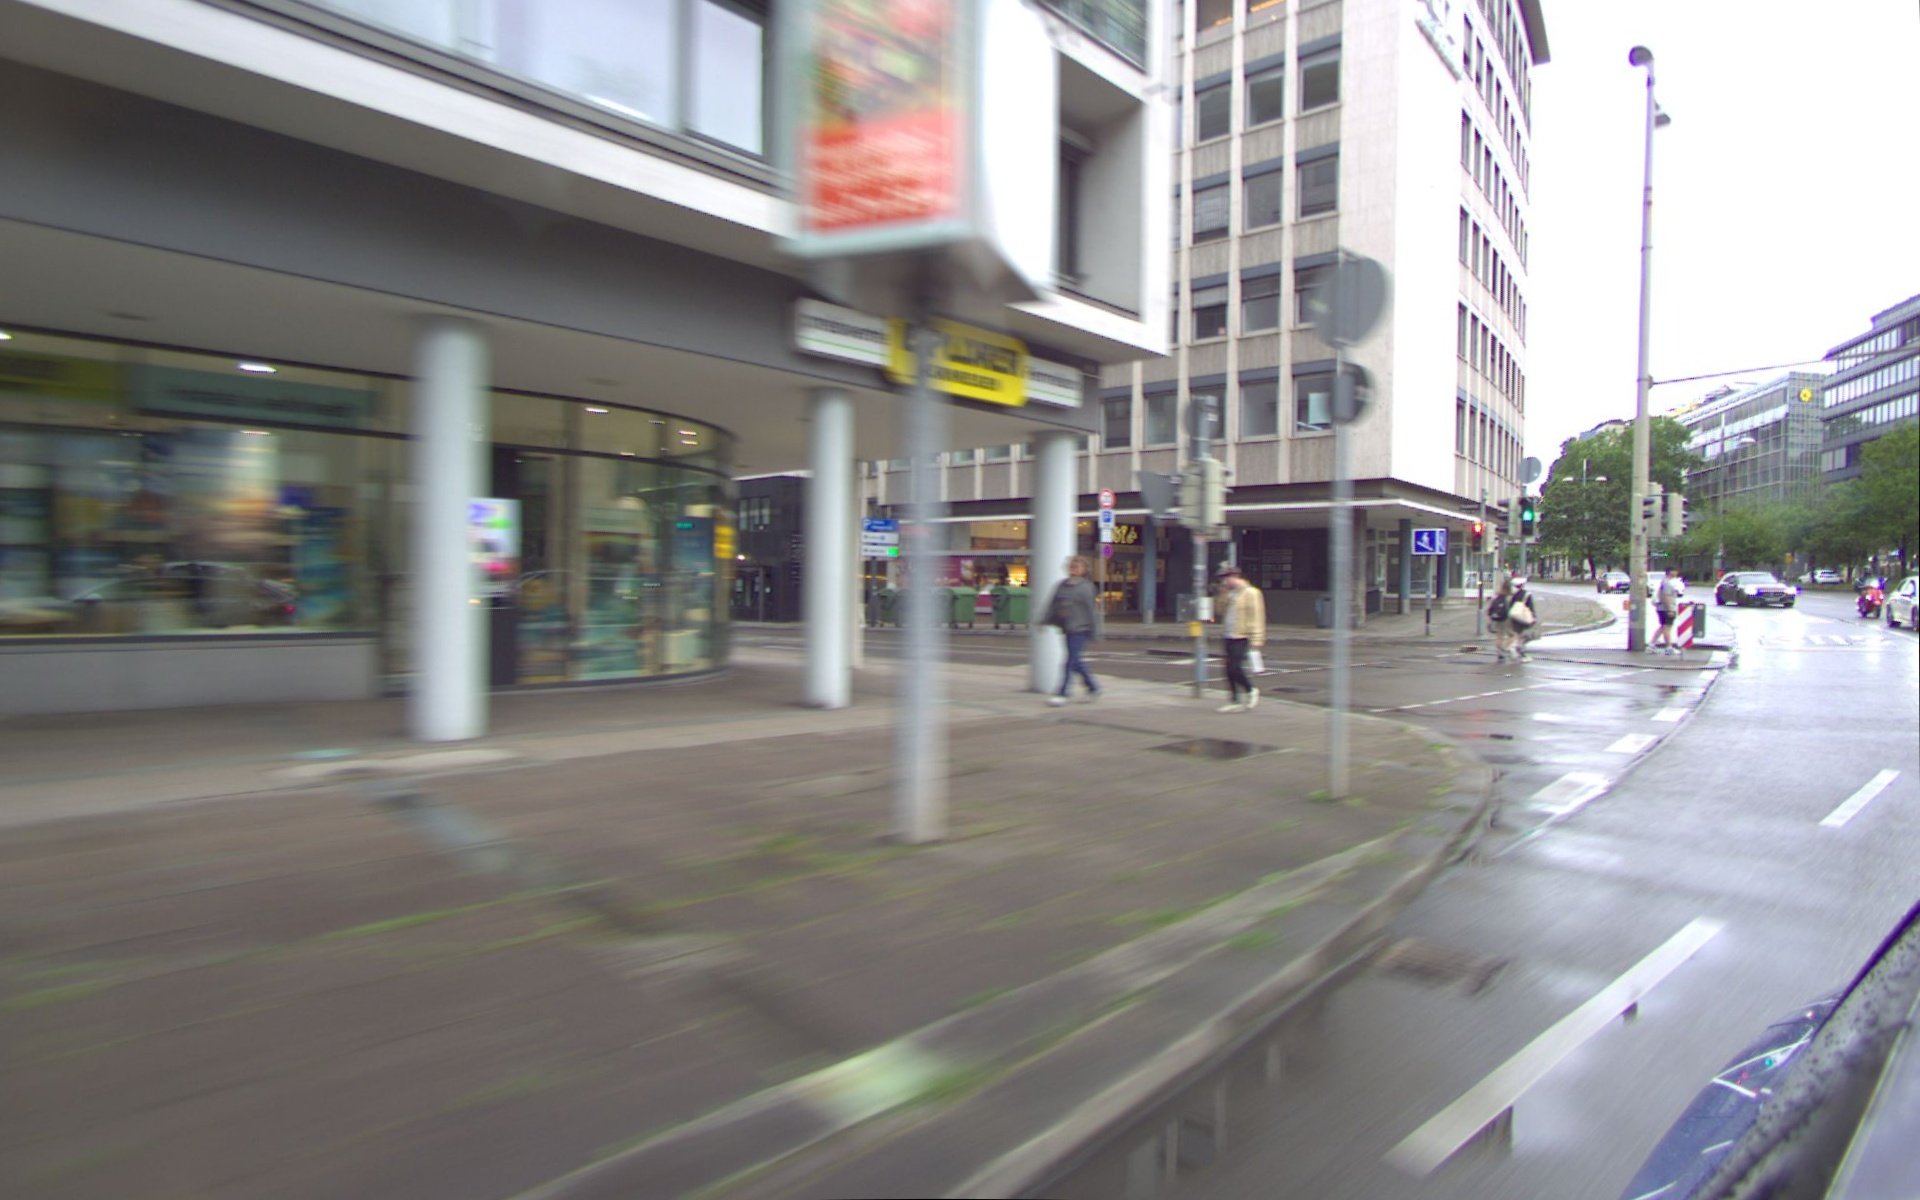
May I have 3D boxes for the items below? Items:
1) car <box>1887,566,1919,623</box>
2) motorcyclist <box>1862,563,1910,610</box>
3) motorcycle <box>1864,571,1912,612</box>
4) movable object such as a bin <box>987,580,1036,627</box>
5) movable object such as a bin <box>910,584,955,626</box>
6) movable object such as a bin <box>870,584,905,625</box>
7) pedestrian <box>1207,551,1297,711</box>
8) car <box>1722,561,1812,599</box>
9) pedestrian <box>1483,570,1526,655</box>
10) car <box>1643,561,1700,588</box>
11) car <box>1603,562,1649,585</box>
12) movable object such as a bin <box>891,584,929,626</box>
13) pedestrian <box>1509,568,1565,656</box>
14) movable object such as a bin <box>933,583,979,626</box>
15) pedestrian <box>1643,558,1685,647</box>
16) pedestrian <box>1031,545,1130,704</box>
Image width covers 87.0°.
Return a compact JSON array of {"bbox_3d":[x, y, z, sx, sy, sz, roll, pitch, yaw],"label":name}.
[{"bbox_3d":[26.848,-0.167,27.392,1.676,1.504,3.960,-1,1,29],"label":"car"},{"bbox_3d":[30.931,-0.454,33.803,1.148,1.529,1.179,-1,1,43],"label":"motorcyclist"},{"bbox_3d":[30.972,-0.294,33.790,1.126,1.282,3.323,-1,1,43],"label":"motorcycle"},{"bbox_3d":[1.746,0.112,34.279,0.984,1.530,1.371,-1,1,44],"label":"movable object such as a bin"},{"bbox_3d":[-0.979,0.170,36.351,0.982,1.478,1.291,-1,1,38],"label":"movable object such as a bin"},{"bbox_3d":[-2.708,0.161,37.952,0.864,1.478,0.955,-1,1,38],"label":"movable object such as a bin"},{"bbox_3d":[3.443,0.351,11.913,0.864,1.805,0.641,1,-1,-39],"label":"pedestrian"},{"bbox_3d":[34.769,-0.867,43.714,1.870,1.504,3.973,-1,1,21],"label":"car"},{"bbox_3d":[10.629,0.224,19.748,0.719,1.618,0.526,-2,1,-45],"label":"pedestrian"},{"bbox_3d":[41.847,-1.522,59.628,1.871,1.504,3.971,-1,1,22],"label":"car"},{"bbox_3d":[46.197,-1.807,70.249,1.871,1.504,3.971,-1,1,22],"label":"car"},{"bbox_3d":[-1.830,0.181,36.966,0.982,1.478,0.949,-1,1,38],"label":"movable object such as a bin"},{"bbox_3d":[10.981,0.210,19.259,1.042,1.618,0.652,-2,1,-45],"label":"pedestrian"},{"bbox_3d":[-0.131,0.153,35.709,0.982,1.478,1.352,-1,1,38],"label":"movable object such as a bin"},{"bbox_3d":[14.241,0.047,20.484,0.650,1.748,0.807,-1,0,35],"label":"pedestrian"},{"bbox_3d":[1.435,0.276,12.069,0.879,1.805,0.792,1,-1,-42],"label":"pedestrian"}]
